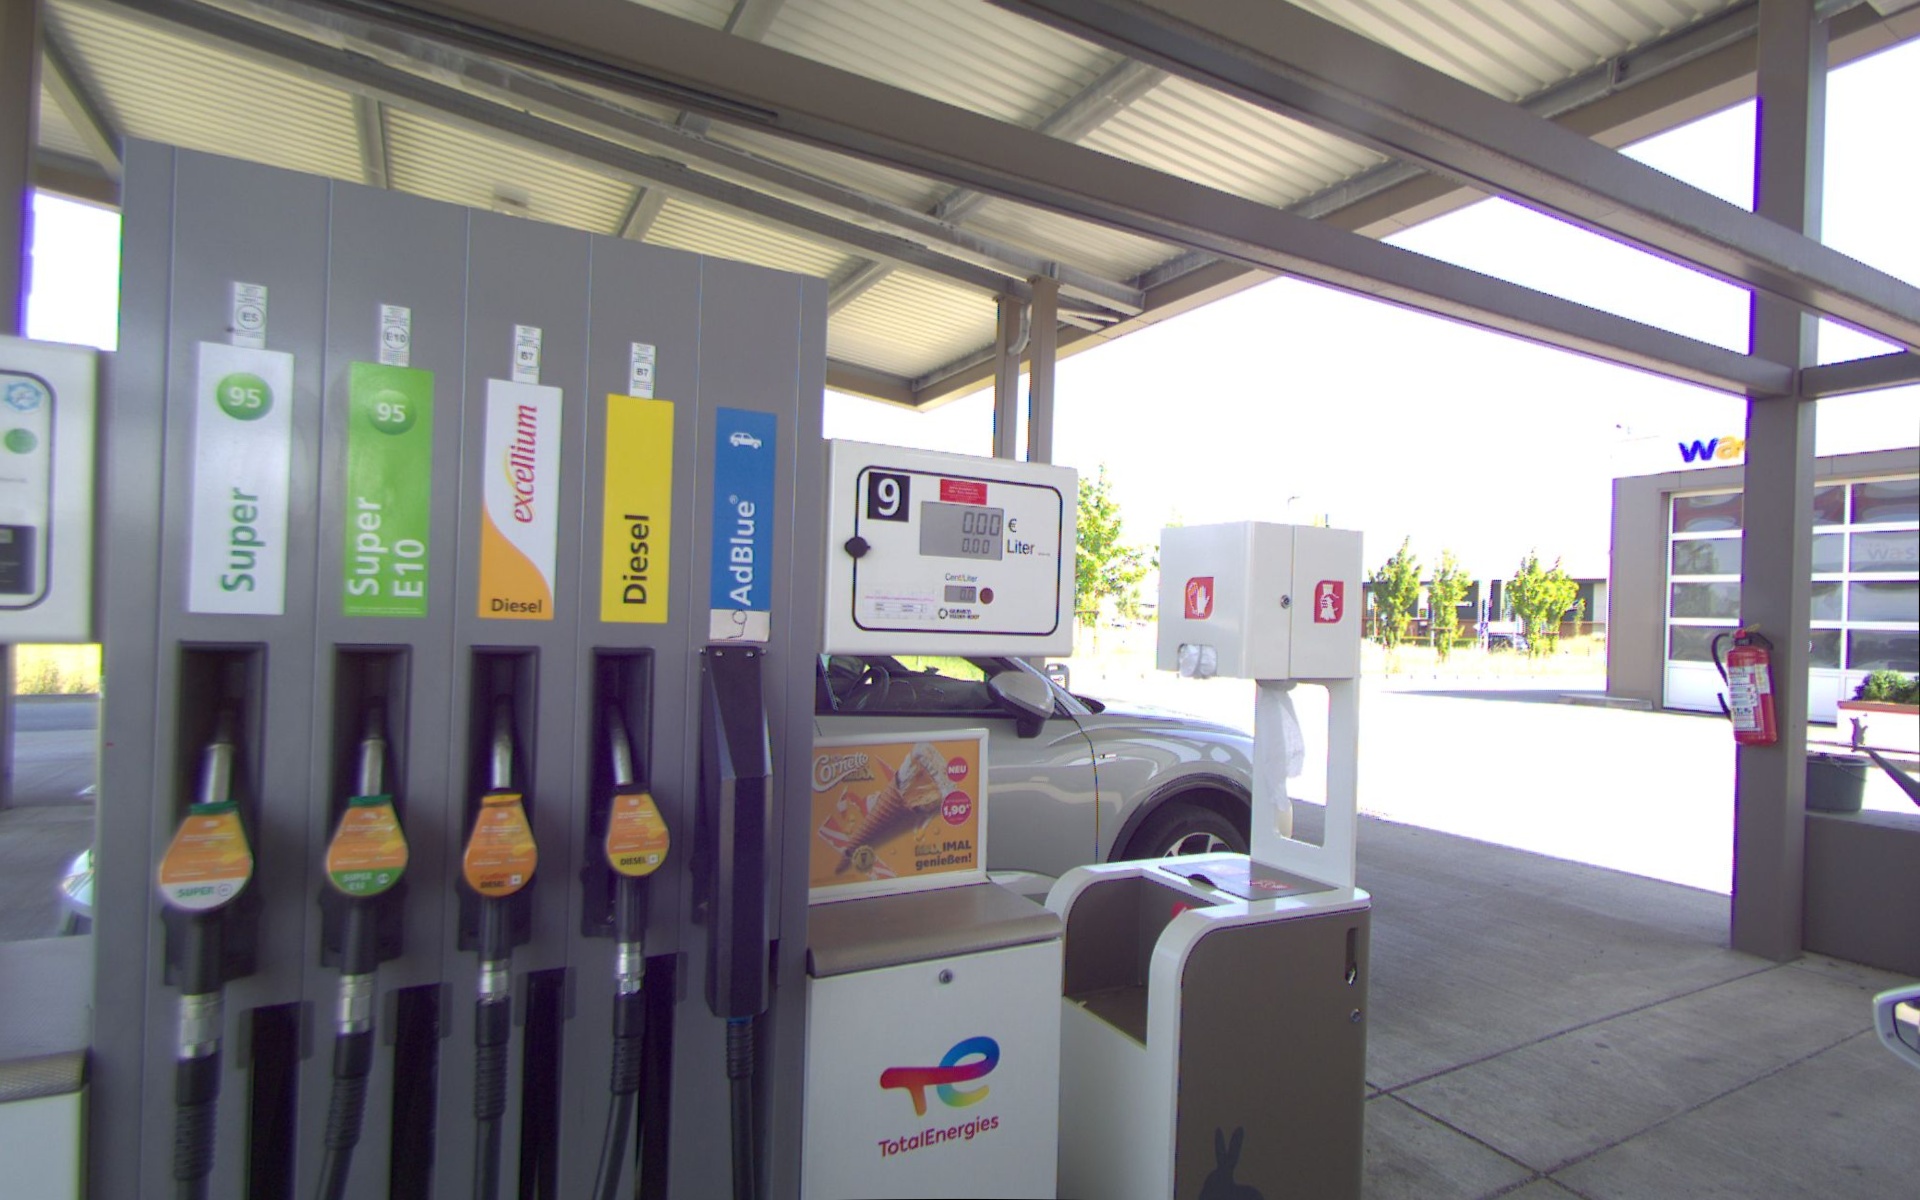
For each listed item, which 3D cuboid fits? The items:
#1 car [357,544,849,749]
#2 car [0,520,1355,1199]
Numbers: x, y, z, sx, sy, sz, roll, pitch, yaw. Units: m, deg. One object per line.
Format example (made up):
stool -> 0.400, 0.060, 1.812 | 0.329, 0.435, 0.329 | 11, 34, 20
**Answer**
car -> -3.584, 0.438, 10.374 | 4.487, 1.710, 1.849 | 2, -1, -33
car -> -0.632, 0.663, 4.003 | 4.272, 1.562, 1.773 | 2, -1, -28
